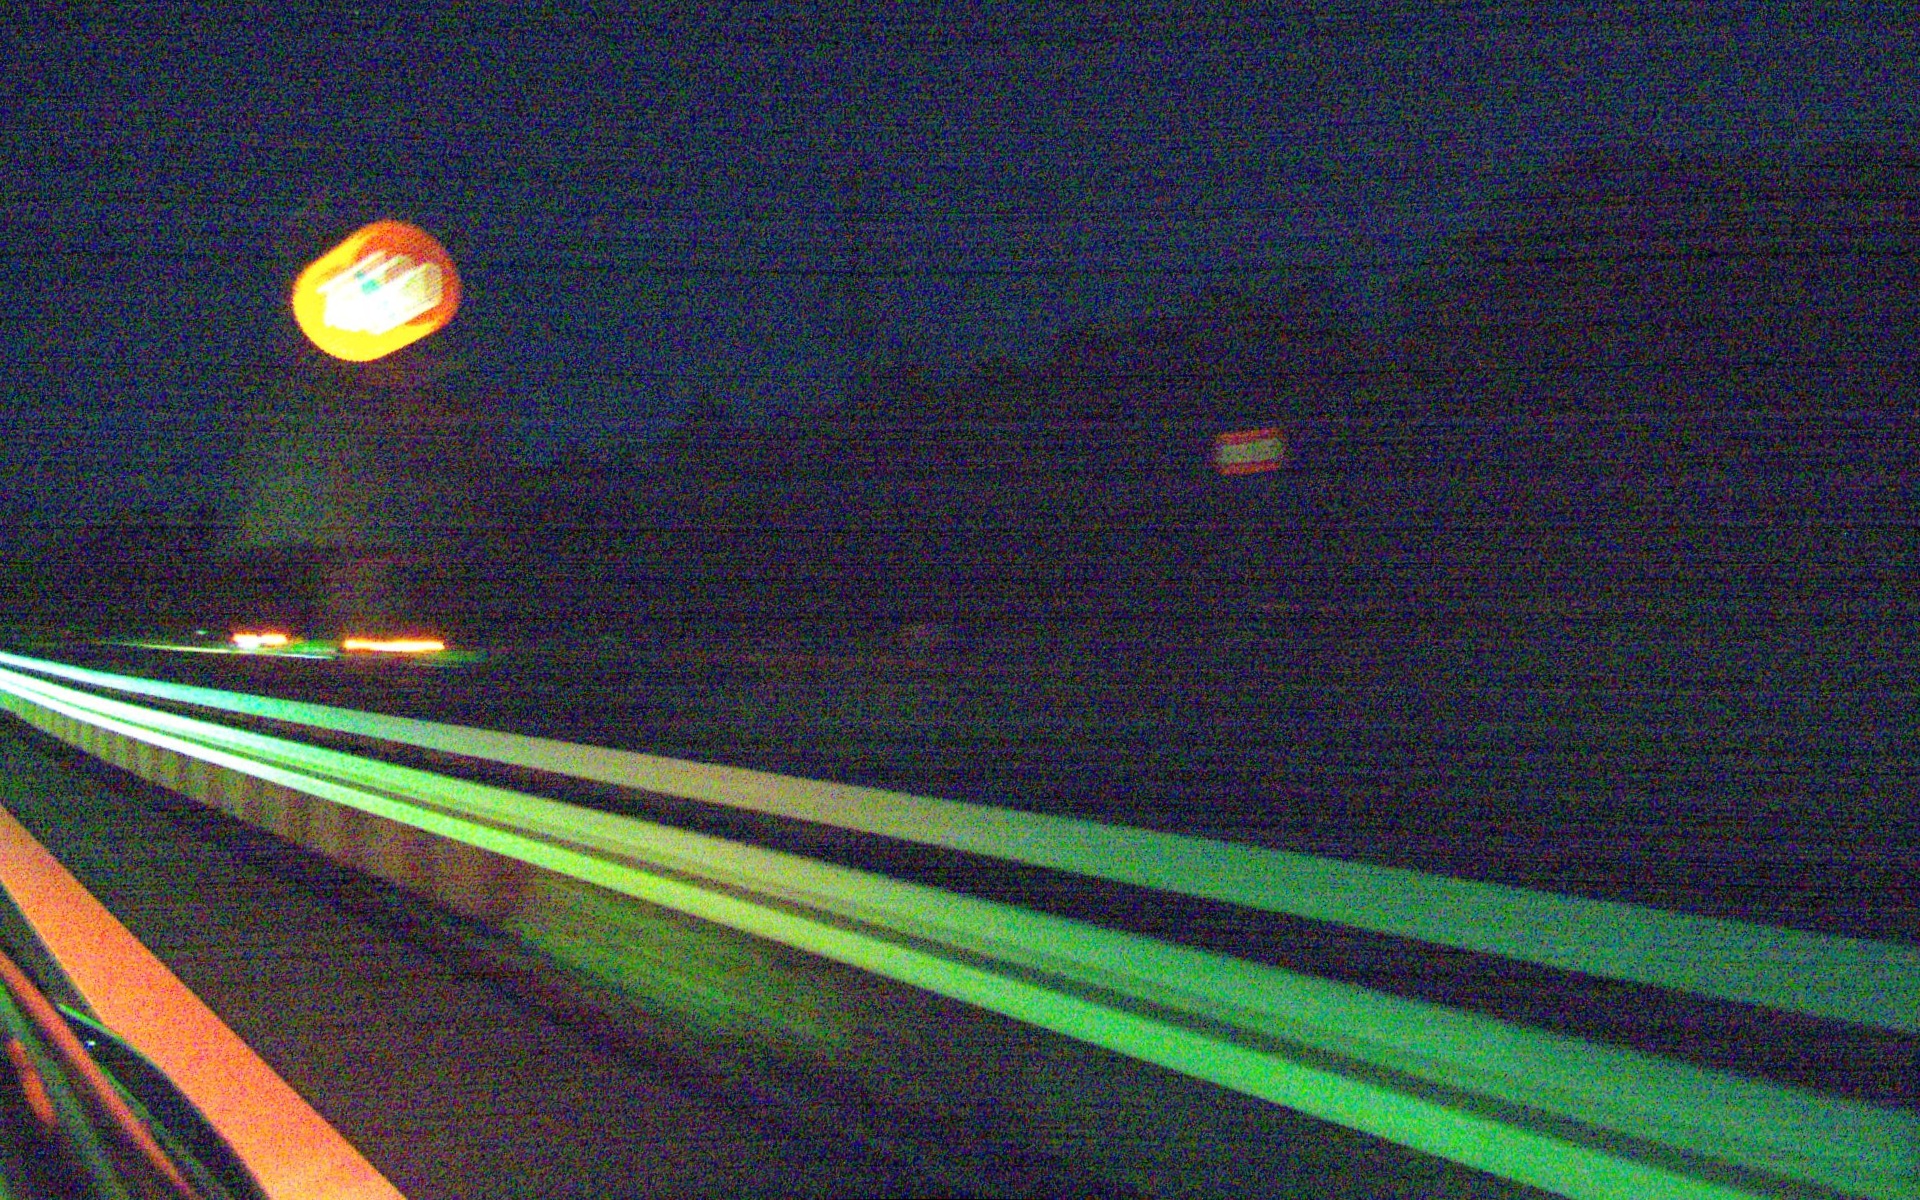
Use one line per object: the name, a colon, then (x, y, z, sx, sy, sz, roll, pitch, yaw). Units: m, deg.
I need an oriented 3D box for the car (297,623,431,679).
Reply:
car: (-18.290, 1.533, 30.945, 5.001, 1.563, 1.973, -1, -5, 41)

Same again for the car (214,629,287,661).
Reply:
car: (-38.110, 2.392, 54.319, 5.001, 1.563, 1.973, -1, -5, 41)
